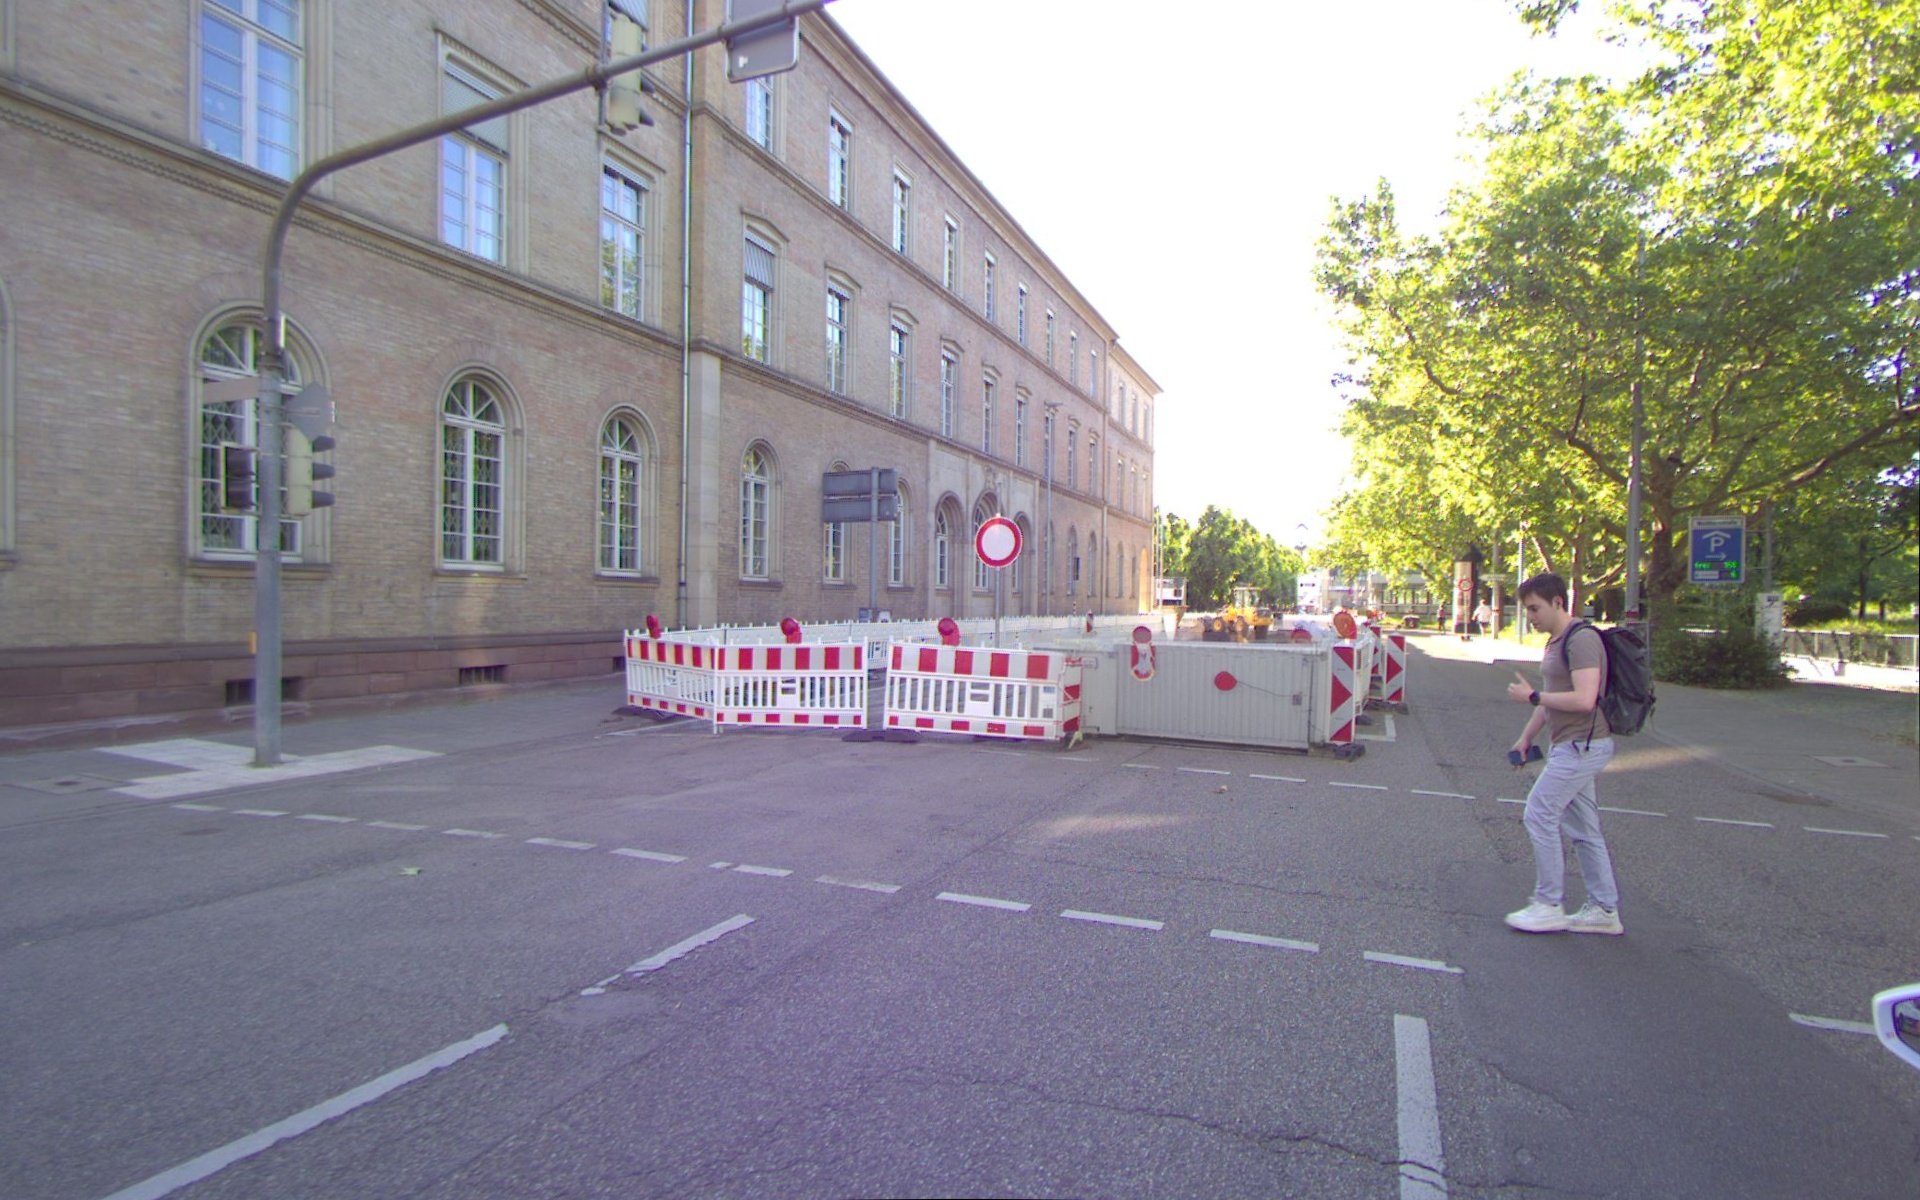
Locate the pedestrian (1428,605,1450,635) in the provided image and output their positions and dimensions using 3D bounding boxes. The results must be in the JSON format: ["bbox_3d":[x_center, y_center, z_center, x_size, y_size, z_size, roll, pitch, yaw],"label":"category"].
[{"bbox_3d":[26.884,1.122,56.344,0.697,1.645,0.937,1,0,-9],"label":"pedestrian"}]

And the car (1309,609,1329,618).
[{"bbox_3d":[87.305,3.280,244.024,4.483,1.814,2.000,2,0,21],"label":"car"}]

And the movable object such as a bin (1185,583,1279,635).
[{"bbox_3d":[16.726,0.542,62.177,2.531,3.072,5.897,0,0,-24],"label":"movable object such as a bin"}]

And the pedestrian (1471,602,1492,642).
[{"bbox_3d":[24.896,1.046,47.999,0.732,1.837,1.133,0,2,20],"label":"pedestrian"}]

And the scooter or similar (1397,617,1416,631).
[{"bbox_3d":[29.331,1.588,65.995,1.127,0.926,0.420,-1,-1,15],"label":"scooter or similar"}]

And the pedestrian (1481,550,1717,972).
[{"bbox_3d":[3.034,0.684,4.819,0.869,1.795,0.746,1,1,33],"label":"pedestrian"}]
